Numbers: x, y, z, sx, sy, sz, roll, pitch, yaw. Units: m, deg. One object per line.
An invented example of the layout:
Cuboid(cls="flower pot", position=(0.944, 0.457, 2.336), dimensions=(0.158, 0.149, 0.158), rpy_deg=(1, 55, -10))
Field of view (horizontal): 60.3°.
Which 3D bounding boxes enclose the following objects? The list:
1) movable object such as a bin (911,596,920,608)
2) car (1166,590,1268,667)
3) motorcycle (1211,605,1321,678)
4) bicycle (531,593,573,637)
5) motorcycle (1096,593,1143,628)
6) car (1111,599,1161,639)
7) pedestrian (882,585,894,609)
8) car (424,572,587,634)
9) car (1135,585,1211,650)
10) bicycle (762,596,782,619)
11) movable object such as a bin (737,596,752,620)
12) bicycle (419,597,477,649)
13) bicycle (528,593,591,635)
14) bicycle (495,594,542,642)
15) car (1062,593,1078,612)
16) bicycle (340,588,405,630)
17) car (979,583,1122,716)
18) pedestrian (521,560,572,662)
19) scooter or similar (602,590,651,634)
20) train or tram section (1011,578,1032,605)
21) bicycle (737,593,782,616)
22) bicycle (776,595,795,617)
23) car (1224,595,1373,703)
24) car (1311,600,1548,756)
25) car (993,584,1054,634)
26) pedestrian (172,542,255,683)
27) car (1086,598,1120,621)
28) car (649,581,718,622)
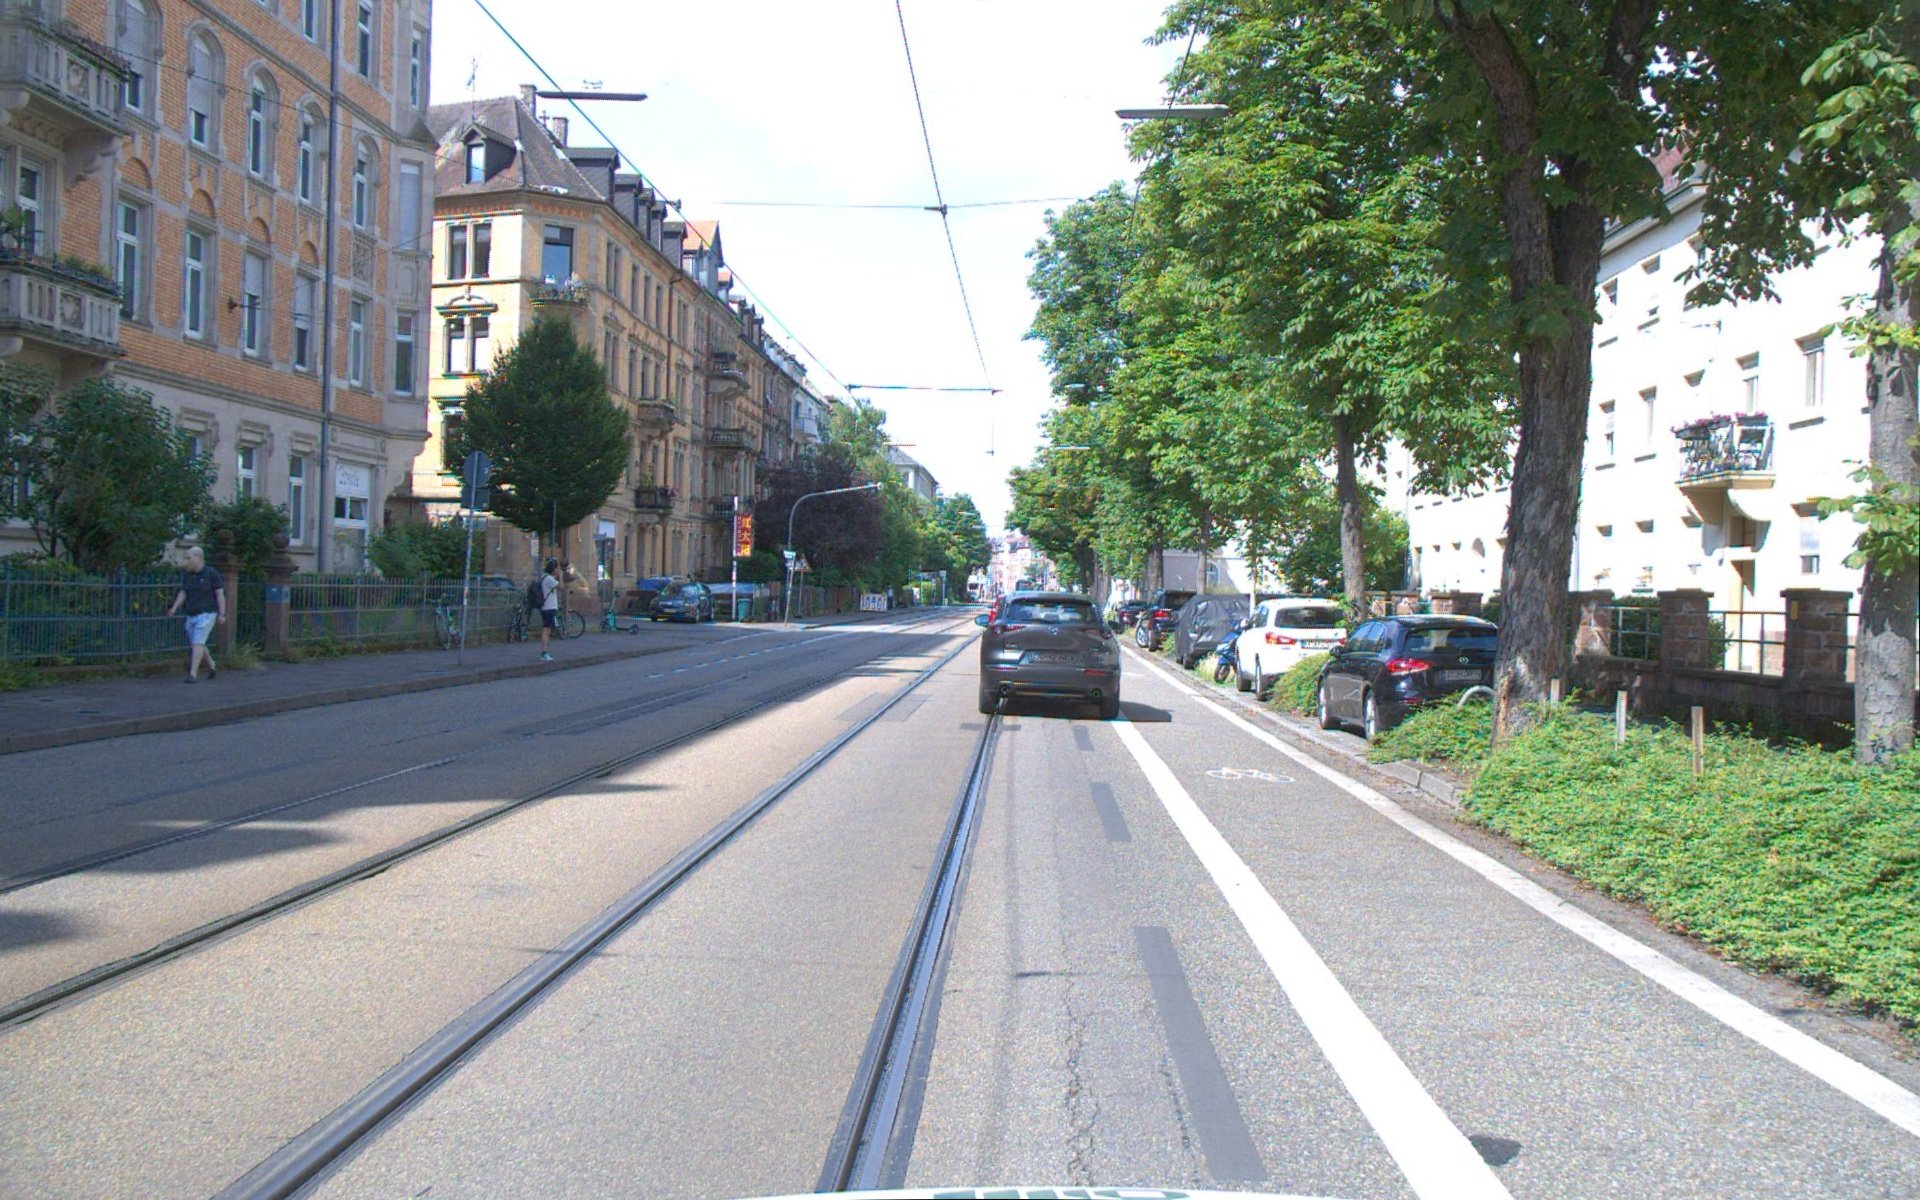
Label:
Cuboid(cls="movable object such as a bin", position=(-4.204, 0.190, 154.980), dimensions=(0.729, 1.005, 1.114), rpy_deg=(3, 0, 2))
Cuboid(cls="car", position=(6.019, 0.625, 39.152), dimensions=(1.824, 1.682, 4.639), rpy_deg=(1, 0, 2))
Cuboid(cls="motorcycle", position=(5.974, 0.798, 32.335), dimensions=(1.966, 1.360, 0.747), rpy_deg=(1, 0, -2))
Cuboid(cls="bicycle", position=(-9.579, 0.336, 38.897), dimensions=(0.412, 0.993, 1.950), rpy_deg=(1, 0, 2))
Cuboid(cls="motorcycle", position=(8.073, 0.531, 83.871), dimensions=(2.345, 1.625, 0.675), rpy_deg=(4, 1, 42))
Cuboid(cls="car", position=(7.247, 0.755, 68.378), dimensions=(1.671, 1.504, 4.198), rpy_deg=(4, 0, 2))
Cuboid(cls="pedestrian", position=(-5.353, -0.223, 122.576), dimensions=(0.806, 1.736, 0.891), rpy_deg=(1, 0, -1))
Cuboid(cls="car", position=(-11.491, 0.061, 41.912), dimensions=(3.527, 1.427, 1.788), rpy_deg=(2, 1, 6))
Cuboid(cls="car", position=(6.219, 0.471, 48.771), dimensions=(1.789, 1.813, 4.734), rpy_deg=(1, 1, 2))
Cuboid(cls="bicycle", position=(-8.005, 0.308, 70.426), dimensions=(0.519, 0.963, 1.968), rpy_deg=(1, 0, 2))
Cuboid(cls="movable object such as a bin", position=(-8.615, 0.320, 66.165), dimensions=(0.514, 0.921, 0.636), rpy_deg=(1, 0, 1))
Cuboid(cls="bicycle", position=(-9.799, 0.422, 31.713), dimensions=(0.412, 0.949, 1.950), rpy_deg=(1, 0, 2))
Cuboid(cls="bicycle", position=(-9.751, 0.332, 40.288), dimensions=(1.422, 0.994, 0.404), rpy_deg=(1, 0, 2))
Cuboid(cls="bicycle", position=(-9.600, 0.375, 35.993), dimensions=(0.412, 0.993, 1.950), rpy_deg=(1, 0, 2))
Cuboid(cls="car", position=(12.127, 0.290, 182.582), dimensions=(1.685, 2.003, 4.209), rpy_deg=(1, 0, 3))
Cuboid(cls="bicycle", position=(-14.249, 0.219, 40.127), dimensions=(1.422, 0.994, 0.404), rpy_deg=(1, 0, 2))
Cuboid(cls="car", position=(1.152, 0.593, 21.610), dimensions=(1.685, 1.553, 3.590), rpy_deg=(1, 0, 2))
Cuboid(cls="pedestrian", position=(-7.554, 0.195, 30.248), dimensions=(0.522, 1.791, 1.106), rpy_deg=(3, 0, 2))
Cuboid(cls="scooter or similar", position=(-9.871, 0.362, 48.970), dimensions=(1.344, 1.256, 0.401), rpy_deg=(2, 0, -27))
Cuboid(cls="train or tram section", position=(9.286, -1.279, 251.088), dimensions=(2.519, 3.838, 13.024), rpy_deg=(1, 0, -1))
Cuboid(cls="bicycle", position=(-8.799, 0.207, 72.682), dimensions=(1.922, 0.963, 0.531), rpy_deg=(1, 0, -2))
Cuboid(cls="bicycle", position=(-7.808, 0.244, 74.101), dimensions=(0.519, 0.963, 1.968), rpy_deg=(1, 0, 2))
Cuboid(cls="car", position=(5.581, 0.754, 27.754), dimensions=(1.706, 1.608, 4.250), rpy_deg=(2, 0, 2))
Cuboid(cls="car", position=(5.332, 0.809, 19.338), dimensions=(1.626, 1.547, 4.289), rpy_deg=(2, 0, 2))
Cuboid(cls="car", position=(2.198, 0.300, 57.511), dimensions=(1.952, 1.555, 4.001), rpy_deg=(4, 0, 2))
Cuboid(cls="pedestrian", position=(-9.464, 0.152, 21.006), dimensions=(0.477, 1.733, 1.151), rpy_deg=(2, 0, 0))
Cuboid(cls="car", position=(9.188, 0.574, 106.484), dimensions=(1.808, 1.434, 4.394), rpy_deg=(-1, 0, -1))
Cuboid(cls="car", position=(-10.677, 0.042, 64.062), dimensions=(1.650, 1.485, 4.766), rpy_deg=(1, 0, 2))
